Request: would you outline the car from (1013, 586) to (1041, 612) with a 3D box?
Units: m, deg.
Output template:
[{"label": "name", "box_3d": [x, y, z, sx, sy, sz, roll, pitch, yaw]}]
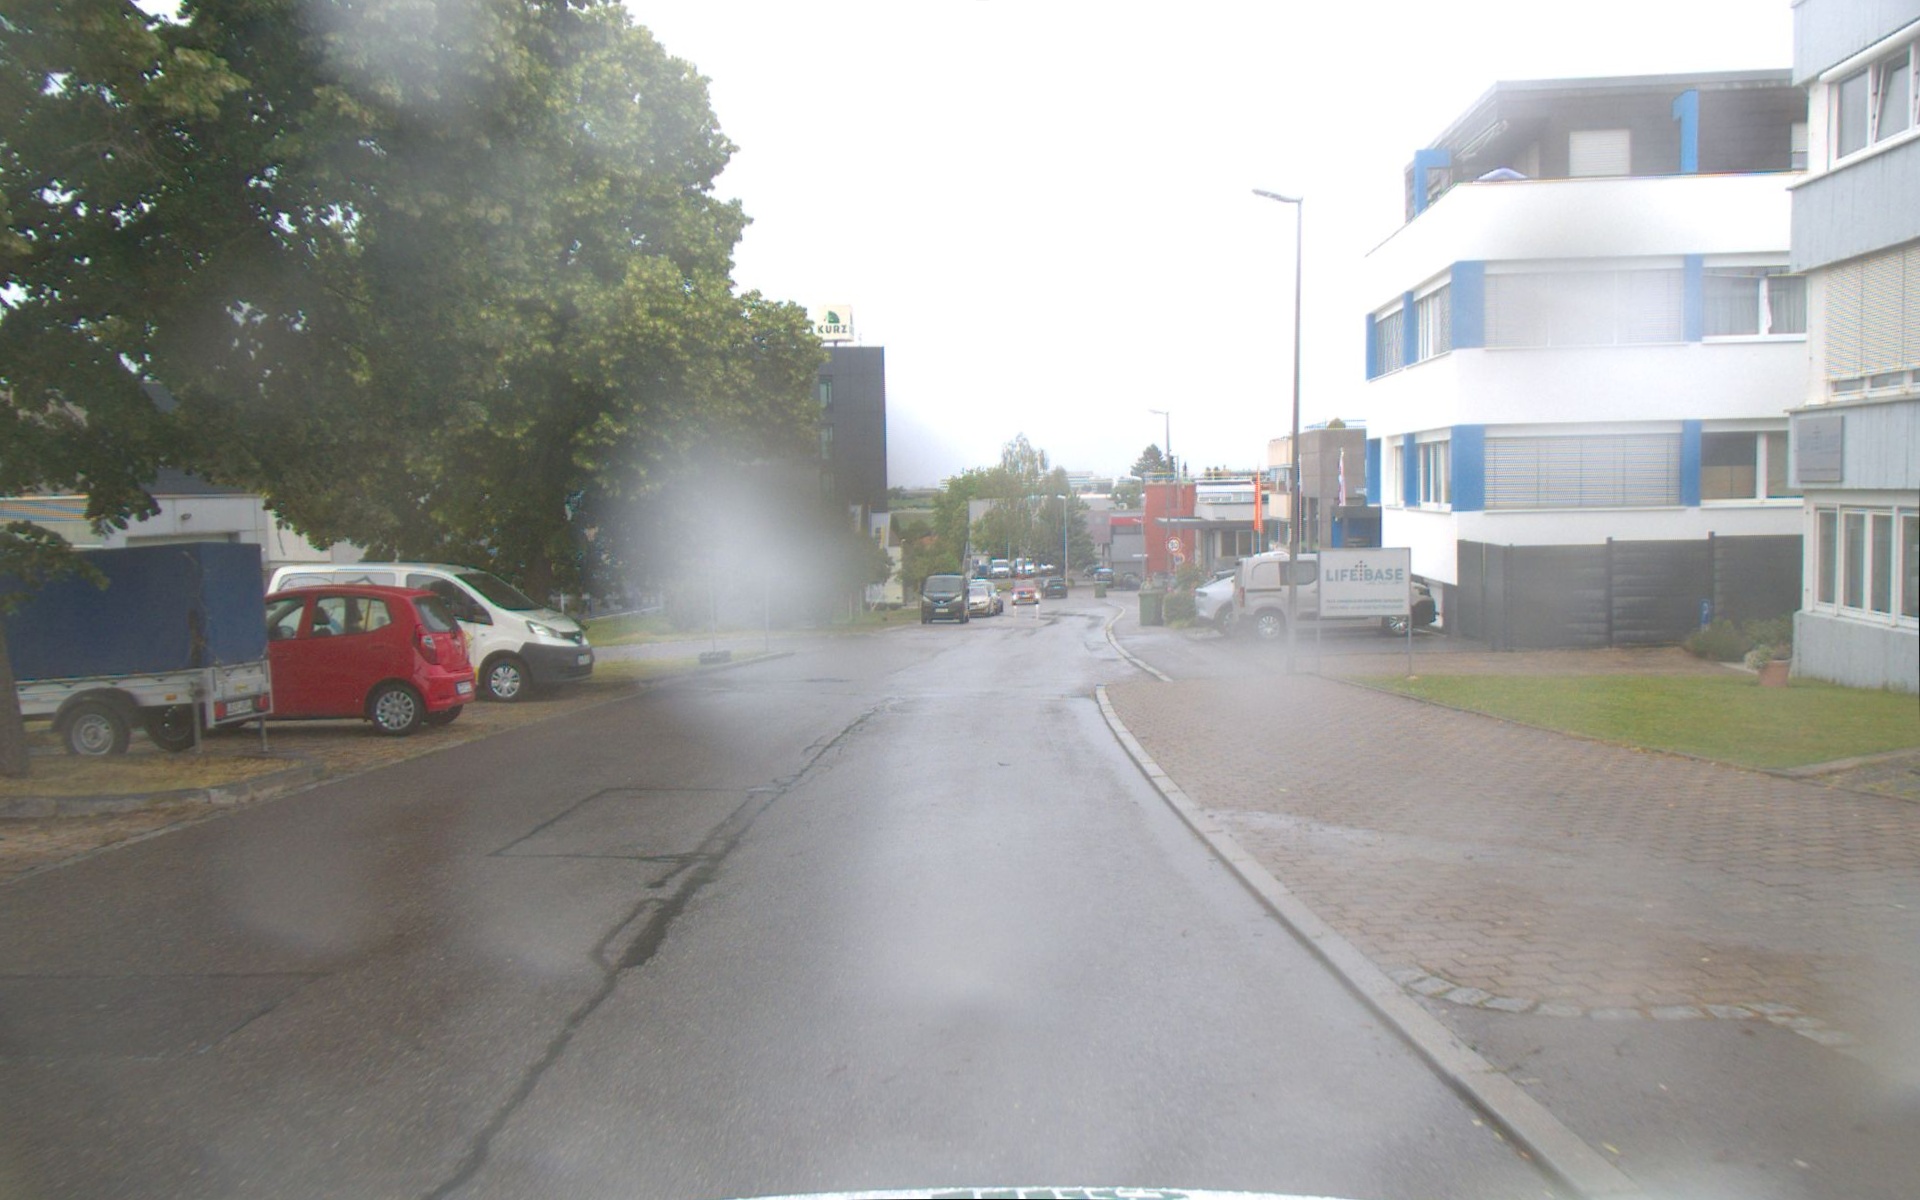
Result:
[{"label": "car", "box_3d": [4.420, -0.052, 109.830, 1.711, 1.534, 3.935, -4, -1, 1]}]

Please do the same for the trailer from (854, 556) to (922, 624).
[{"label": "trailer", "box_3d": [-4.748, -0.623, 108.371, 4.113, 4.276, 1.994, -3, 0, 43]}]

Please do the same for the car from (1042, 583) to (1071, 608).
[{"label": "car", "box_3d": [7.129, -0.343, 122.863, 1.916, 1.705, 4.472, -2, -1, 1]}]

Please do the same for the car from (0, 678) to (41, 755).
[{"label": "car", "box_3d": [-19.971, 2.365, 31.963, 1.526, 1.472, 3.706, -2, 0, 22]}]

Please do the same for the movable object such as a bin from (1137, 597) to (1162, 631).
[{"label": "movable object such as a bin", "box_3d": [6.047, 0.443, 52.763, 0.755, 1.048, 0.809, -1, 0, 6]}]

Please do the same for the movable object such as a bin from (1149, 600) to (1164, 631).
[{"label": "movable object such as a bin", "box_3d": [6.456, 0.514, 54.339, 0.462, 0.984, 0.515, -1, 0, 6]}]

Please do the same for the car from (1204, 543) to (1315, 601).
[{"label": "car", "box_3d": [15.372, -1.406, 85.222, 5.193, 2.046, 2.223, -10, -1, 4]}]

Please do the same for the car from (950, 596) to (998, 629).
[{"label": "car", "box_3d": [0.698, 0.569, 79.675, 1.915, 1.486, 5.250, -2, 0, 4]}]

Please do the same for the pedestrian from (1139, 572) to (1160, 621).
[{"label": "pedestrian", "box_3d": [7.156, -0.124, 62.384, 0.721, 1.798, 0.809, -1, -1, 6]}]

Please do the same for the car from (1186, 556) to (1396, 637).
[{"label": "car", "box_3d": [7.683, -0.079, 38.766, 4.501, 1.565, 2.080, -4, 0, 4]}]

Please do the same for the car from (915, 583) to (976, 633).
[{"label": "car", "box_3d": [-0.526, 0.309, 65.075, 1.875, 1.863, 4.851, -2, 0, 5]}]

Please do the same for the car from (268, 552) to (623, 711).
[{"label": "car", "box_3d": [-6.987, 0.434, 22.686, 4.209, 1.939, 1.863, -2, -1, 7]}]

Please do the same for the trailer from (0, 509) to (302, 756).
[{"label": "trailer", "box_3d": [-8.377, 0.325, 14.903, 4.125, 2.019, 1.774, -2, -1, 1]}]

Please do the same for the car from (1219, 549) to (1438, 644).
[{"label": "car", "box_3d": [7.869, -0.070, 35.661, 4.250, 1.804, 2.090, -2, 0, 2]}]

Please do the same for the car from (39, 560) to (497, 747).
[{"label": "car", "box_3d": [-7.292, 0.549, 17.734, 4.111, 1.752, 1.754, -2, -1, -2]}]
